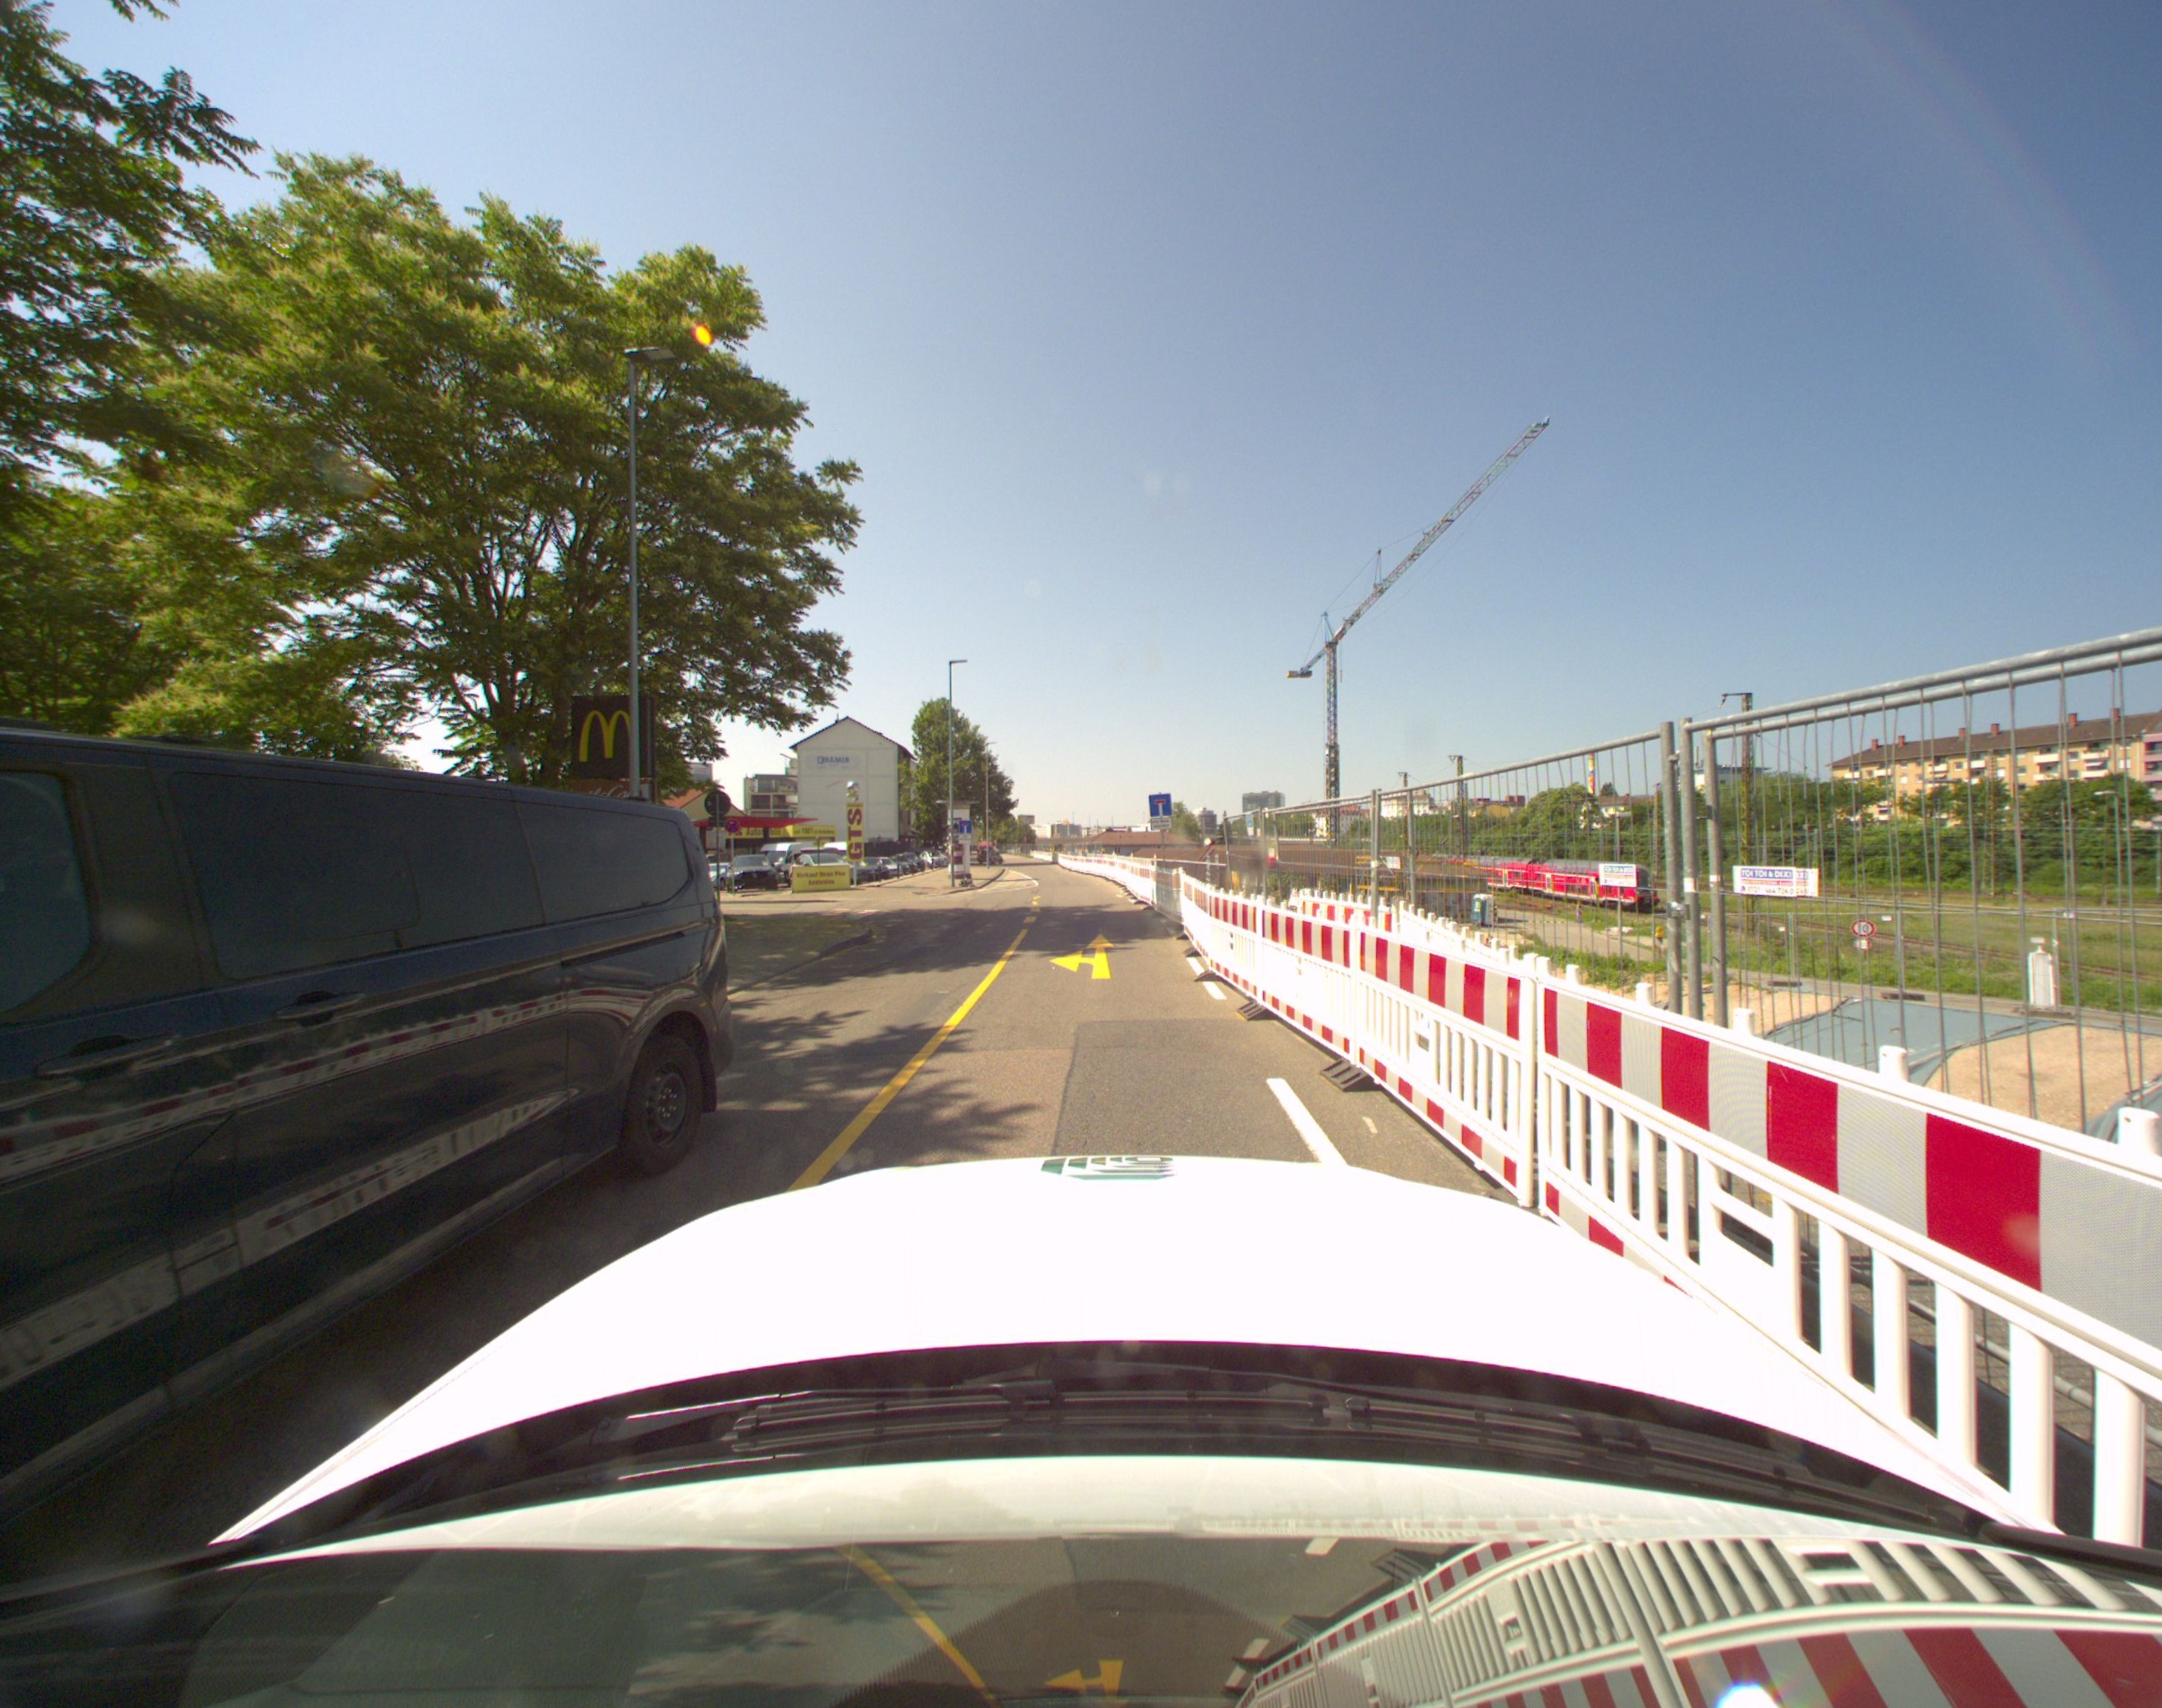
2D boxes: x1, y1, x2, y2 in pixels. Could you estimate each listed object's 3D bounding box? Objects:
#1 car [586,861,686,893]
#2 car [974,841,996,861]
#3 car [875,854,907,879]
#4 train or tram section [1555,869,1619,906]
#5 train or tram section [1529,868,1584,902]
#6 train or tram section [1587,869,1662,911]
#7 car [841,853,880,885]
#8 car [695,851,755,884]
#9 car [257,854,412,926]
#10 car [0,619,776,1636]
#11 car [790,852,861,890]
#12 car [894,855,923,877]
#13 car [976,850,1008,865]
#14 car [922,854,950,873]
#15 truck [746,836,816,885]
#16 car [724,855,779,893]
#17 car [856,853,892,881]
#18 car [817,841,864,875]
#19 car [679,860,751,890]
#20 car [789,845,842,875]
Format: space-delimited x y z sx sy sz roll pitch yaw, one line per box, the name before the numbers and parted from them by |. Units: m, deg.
car | -23.577 1.194 43.205 4.357 1.585 1.976 0 -1 -41
car | -12.523 -0.409 106.833 2.532 2.520 5.112 0 -1 -3
car | -12.900 0.806 55.128 1.861 1.629 3.976 -1 0 -18
train or tram section | 55.496 3.555 89.648 2.995 3.714 9.001 2 0 12
train or tram section | 57.334 3.656 98.457 2.995 3.712 9.001 2 0 12
train or tram section | 53.691 3.450 80.810 2.995 3.701 9.000 2 0 12
car | -11.950 0.792 44.027 1.861 1.629 3.976 -1 0 -18
car | -22.482 0.829 51.680 1.989 2.014 4.491 0 -1 -3
car | -18.871 0.814 20.520 4.966 1.583 1.970 0 0 37
car | -3.176 0.579 2.589 2.169 1.968 5.445 -3 -1 1
car | -12.302 0.785 39.038 2.009 1.725 3.955 0 -1 -37
car | -13.579 0.898 63.898 1.861 1.629 3.976 -1 0 -18
car | -10.189 0.429 93.002 3.300 1.637 1.705 0 -1 -44
car | -12.813 0.802 71.858 1.861 1.629 3.976 -1 0 -18
truck | -19.205 0.399 52.477 2.262 2.904 5.942 0 0 0
car | -15.108 0.885 37.232 2.057 1.594 4.386 0 -1 -26
car | -12.632 0.748 49.538 1.861 1.629 3.976 -1 0 -18
car | -16.508 0.260 56.109 2.132 2.284 4.703 -1 0 -4
car | -19.530 1.097 43.644 1.779 1.487 4.005 0 -1 5
car | -16.244 0.364 50.076 1.872 1.738 4.719 0 0 -2
